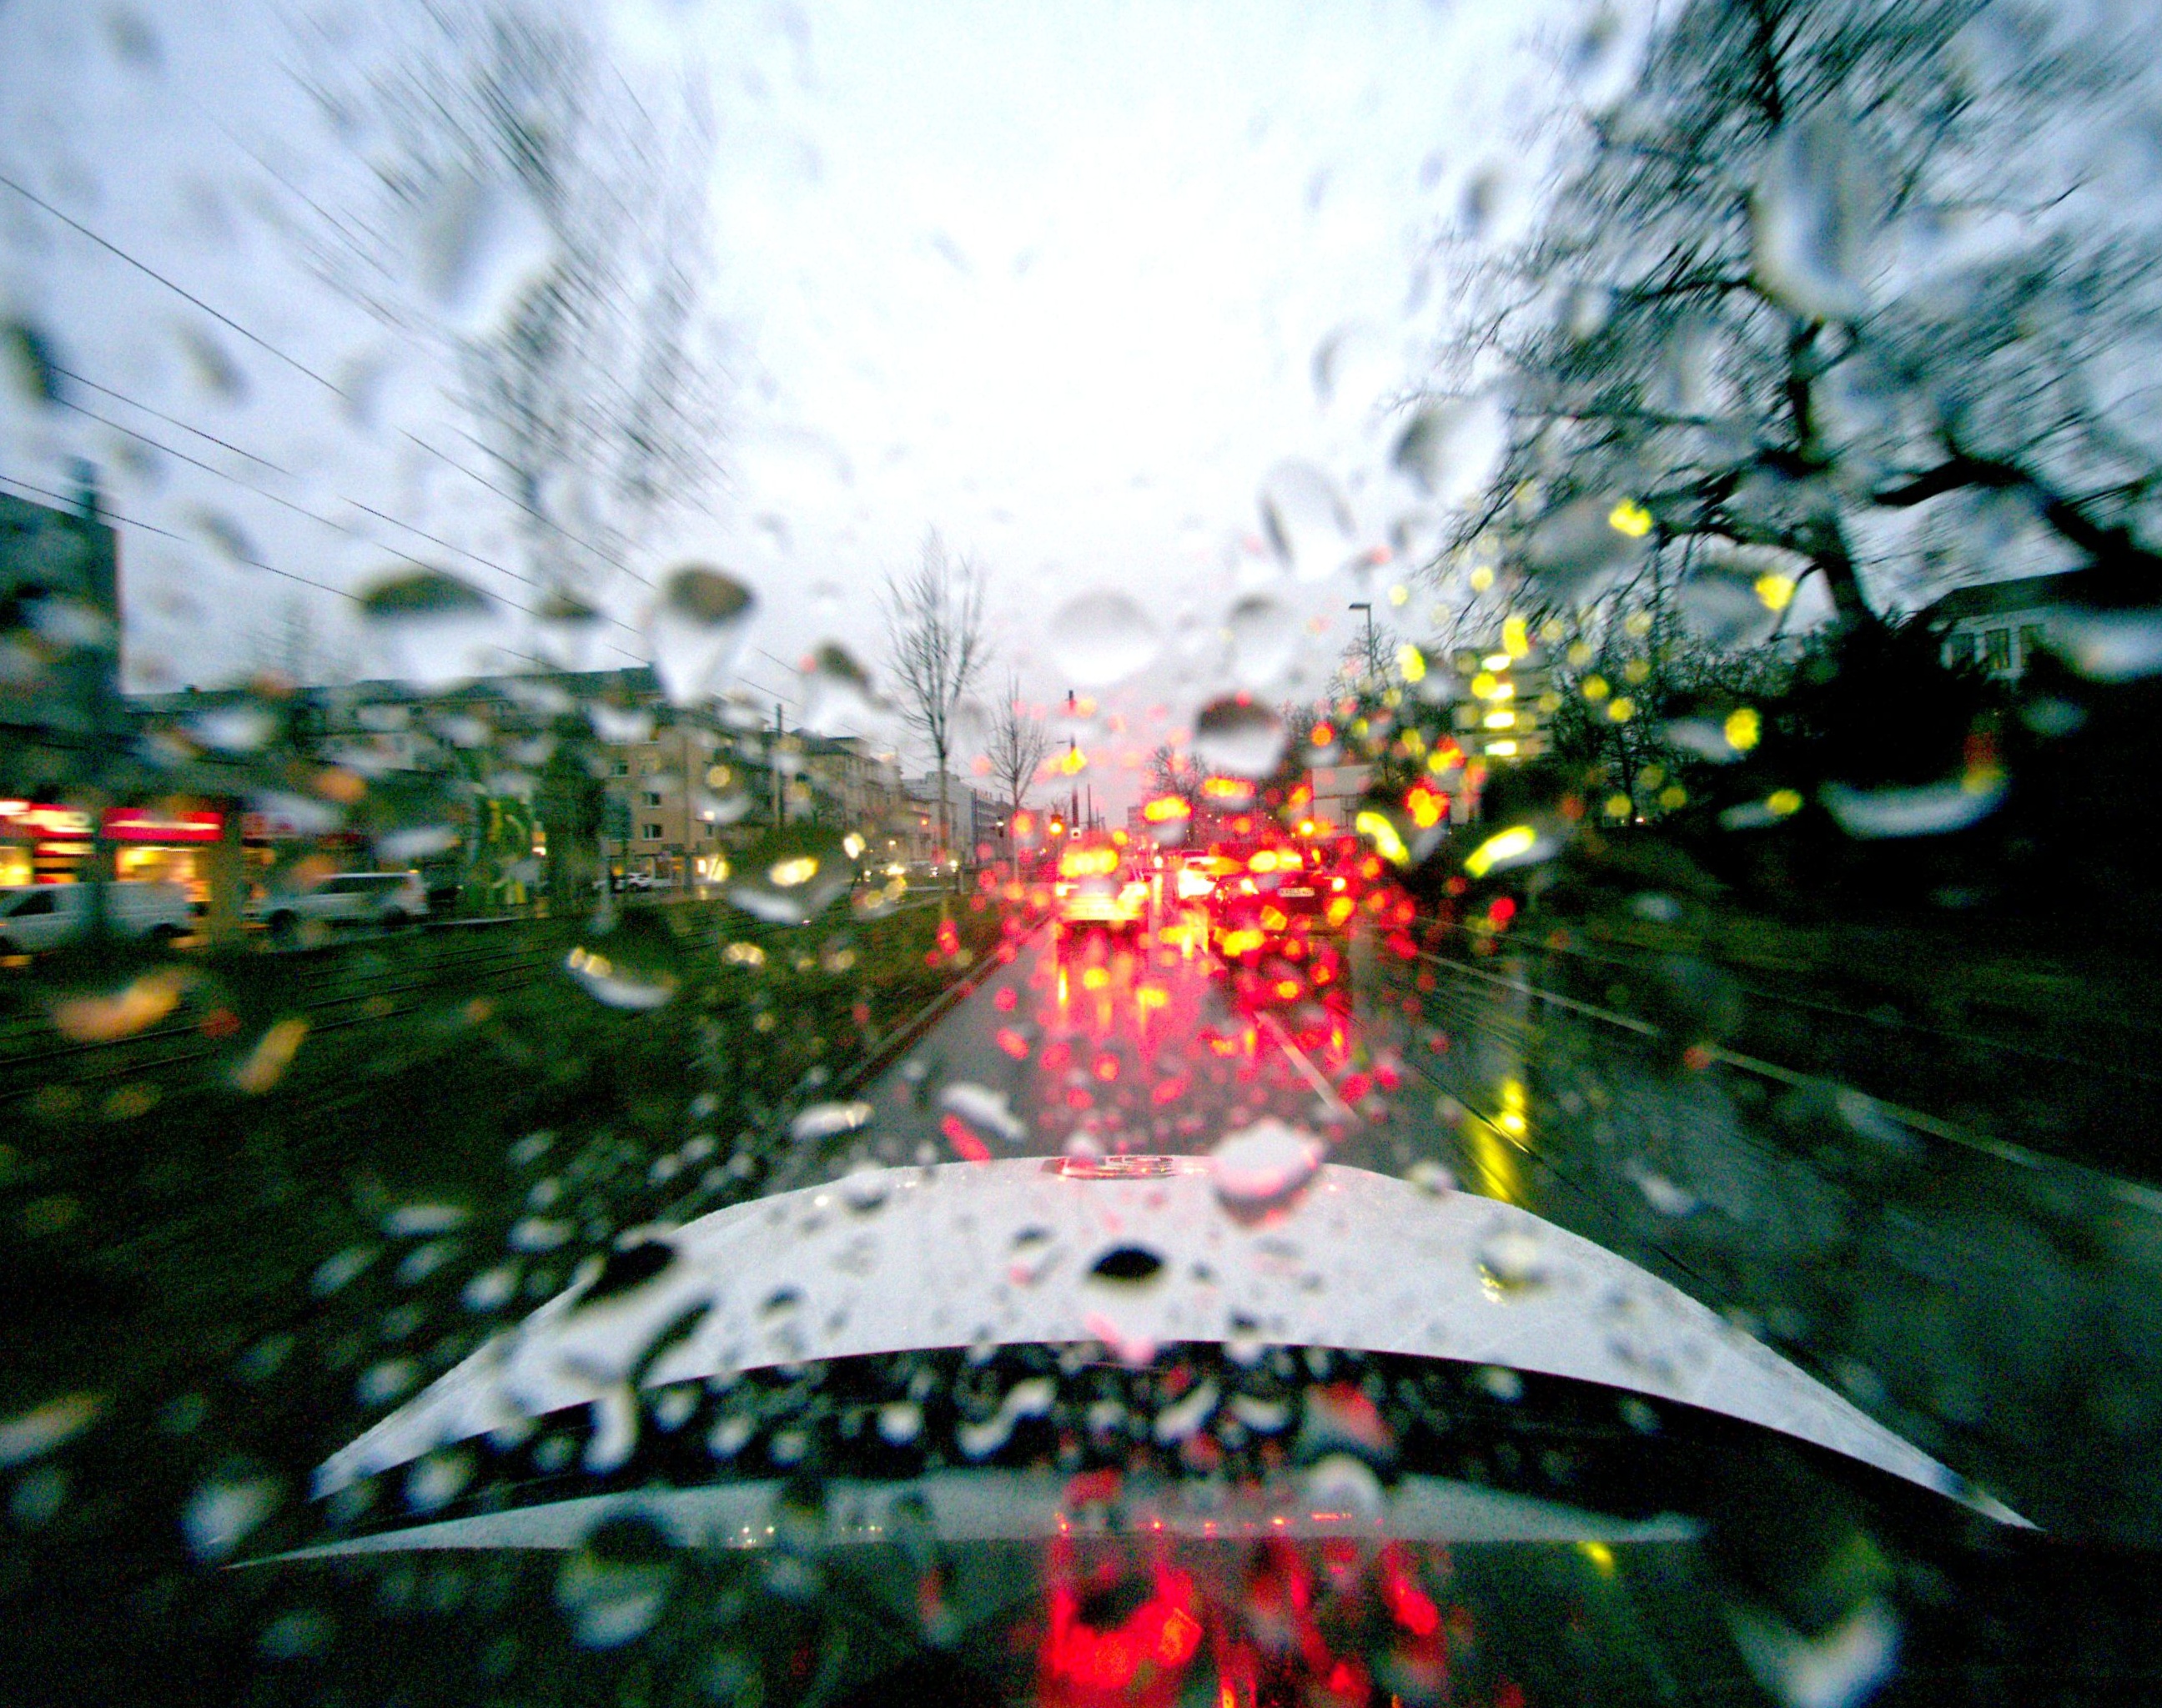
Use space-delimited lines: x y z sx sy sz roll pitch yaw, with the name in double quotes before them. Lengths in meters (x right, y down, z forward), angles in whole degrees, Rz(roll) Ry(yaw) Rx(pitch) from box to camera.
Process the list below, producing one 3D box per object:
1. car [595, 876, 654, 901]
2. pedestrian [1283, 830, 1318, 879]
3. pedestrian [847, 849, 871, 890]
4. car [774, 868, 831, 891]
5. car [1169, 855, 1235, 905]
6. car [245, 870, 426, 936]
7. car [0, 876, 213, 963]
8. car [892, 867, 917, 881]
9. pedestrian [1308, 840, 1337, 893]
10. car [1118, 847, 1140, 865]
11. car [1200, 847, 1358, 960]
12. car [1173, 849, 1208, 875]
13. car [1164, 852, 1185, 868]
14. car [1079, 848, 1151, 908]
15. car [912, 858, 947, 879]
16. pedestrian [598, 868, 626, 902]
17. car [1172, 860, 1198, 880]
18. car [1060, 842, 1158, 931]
"car" -36.812 2.780 65.735 3.742 1.942 1.839 0 -1 -5
"pedestrian" 9.192 0.013 34.126 0.962 2.013 1.001 -2 0 -19
"pedestrian" -11.348 0.796 41.638 1.008 2.013 0.955 -2 0 -21
"car" -17.276 1.581 50.693 1.851 1.332 4.319 0 0 3
"car" 3.655 0.763 25.146 1.738 1.433 3.735 0 0 4
"car" -27.798 1.738 30.570 4.858 2.244 1.976 0 -1 -43
"car" -27.049 1.649 21.438 1.982 2.046 5.577 0 0 8
"car" -17.371 1.982 80.389 1.687 1.277 4.143 -2 0 -3
"pedestrian" 9.452 0.490 31.920 0.952 2.013 1.011 -2 0 11
"car" 4.093 0.150 69.081 1.730 1.419 4.397 -2 0 3
"car" 3.023 0.692 13.215 1.792 1.511 3.898 -2 0 3
"car" 6.486 0.436 48.419 1.730 1.419 3.706 -2 0 3
"car" 9.113 0.553 79.330 1.730 1.419 4.149 -2 0 3
"car" 1.008 0.607 23.234 1.791 1.466 4.590 -2 0 3
"car" -12.250 1.157 66.068 1.986 1.602 4.002 0 0 2
"pedestrian" -28.530 1.863 49.582 1.274 2.013 1.000 -2 0 -21
"car" 8.122 1.241 63.695 1.730 1.419 3.706 -2 0 3
"car" 0.531 0.560 16.139 1.687 1.533 4.001 -1 0 1
